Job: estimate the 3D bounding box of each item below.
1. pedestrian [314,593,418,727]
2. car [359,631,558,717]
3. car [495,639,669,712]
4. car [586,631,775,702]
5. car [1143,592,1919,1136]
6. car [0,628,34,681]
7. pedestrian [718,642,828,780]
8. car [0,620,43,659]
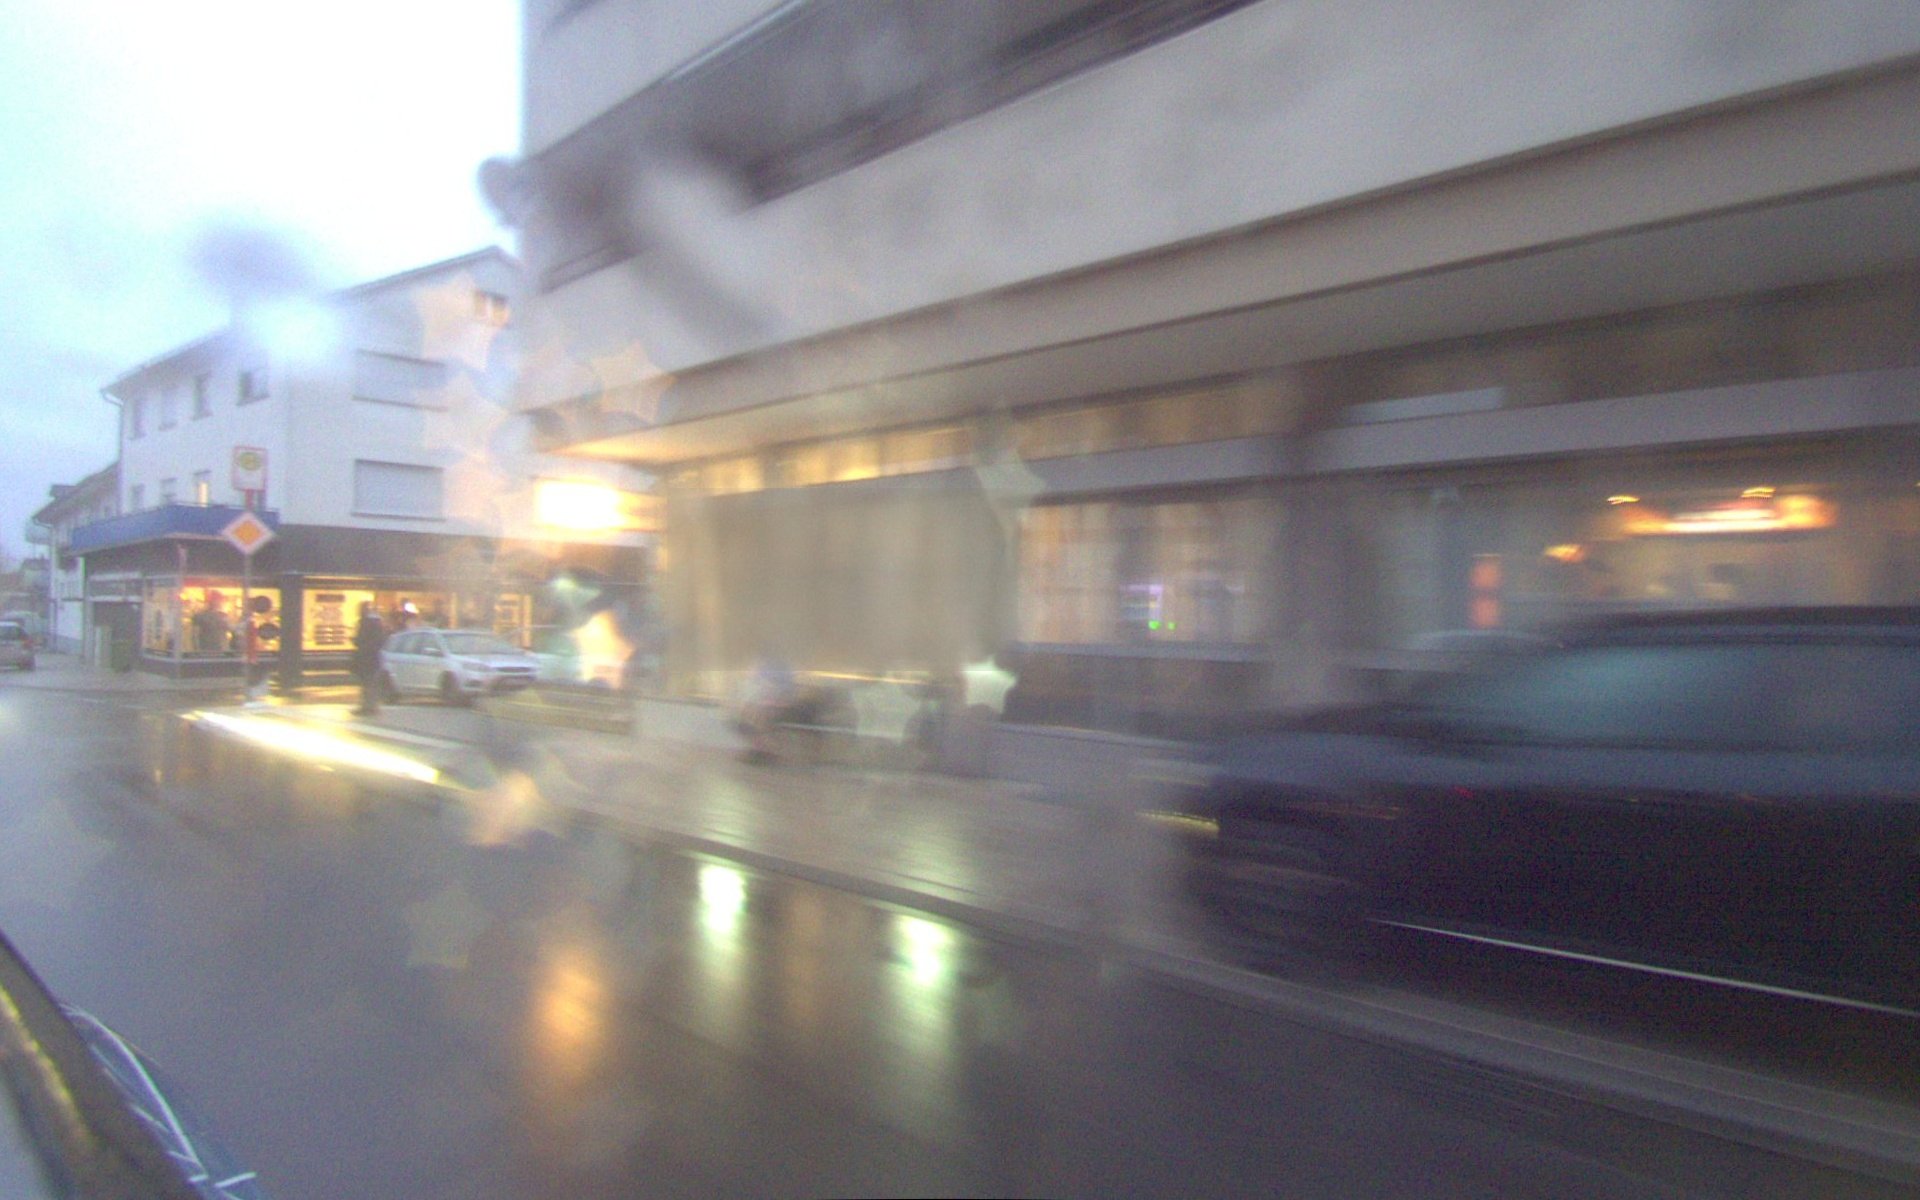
[{"bbox_3d":[-9.151,0.905,15.598,1.184,1.953,0.977,2,-3,-42],"label":"pedestrian"},{"bbox_3d":[-9.951,1.446,19.954,4.443,1.511,1.747,-3,-4,38],"label":"car"},{"bbox_3d":[-8.235,1.610,21.849,4.449,1.411,1.679,-4,-4,43],"label":"car"},{"bbox_3d":[-6.761,1.572,24.122,5.045,1.511,2.079,-4,-5,44],"label":"car"},{"bbox_3d":[2.832,0.761,3.869,3.926,1.544,1.598,-1,-1,41],"label":"car"},{"bbox_3d":[-31.796,1.795,33.195,3.814,1.626,1.703,-2,0,42],"label":"car"},{"bbox_3d":[-1.938,1.112,10.488,0.827,1.320,0.748,-1,-1,39],"label":"pedestrian"},{"bbox_3d":[-68.649,2.860,73.792,2.014,2.680,4.221,-2,-1,-33],"label":"car"}]
